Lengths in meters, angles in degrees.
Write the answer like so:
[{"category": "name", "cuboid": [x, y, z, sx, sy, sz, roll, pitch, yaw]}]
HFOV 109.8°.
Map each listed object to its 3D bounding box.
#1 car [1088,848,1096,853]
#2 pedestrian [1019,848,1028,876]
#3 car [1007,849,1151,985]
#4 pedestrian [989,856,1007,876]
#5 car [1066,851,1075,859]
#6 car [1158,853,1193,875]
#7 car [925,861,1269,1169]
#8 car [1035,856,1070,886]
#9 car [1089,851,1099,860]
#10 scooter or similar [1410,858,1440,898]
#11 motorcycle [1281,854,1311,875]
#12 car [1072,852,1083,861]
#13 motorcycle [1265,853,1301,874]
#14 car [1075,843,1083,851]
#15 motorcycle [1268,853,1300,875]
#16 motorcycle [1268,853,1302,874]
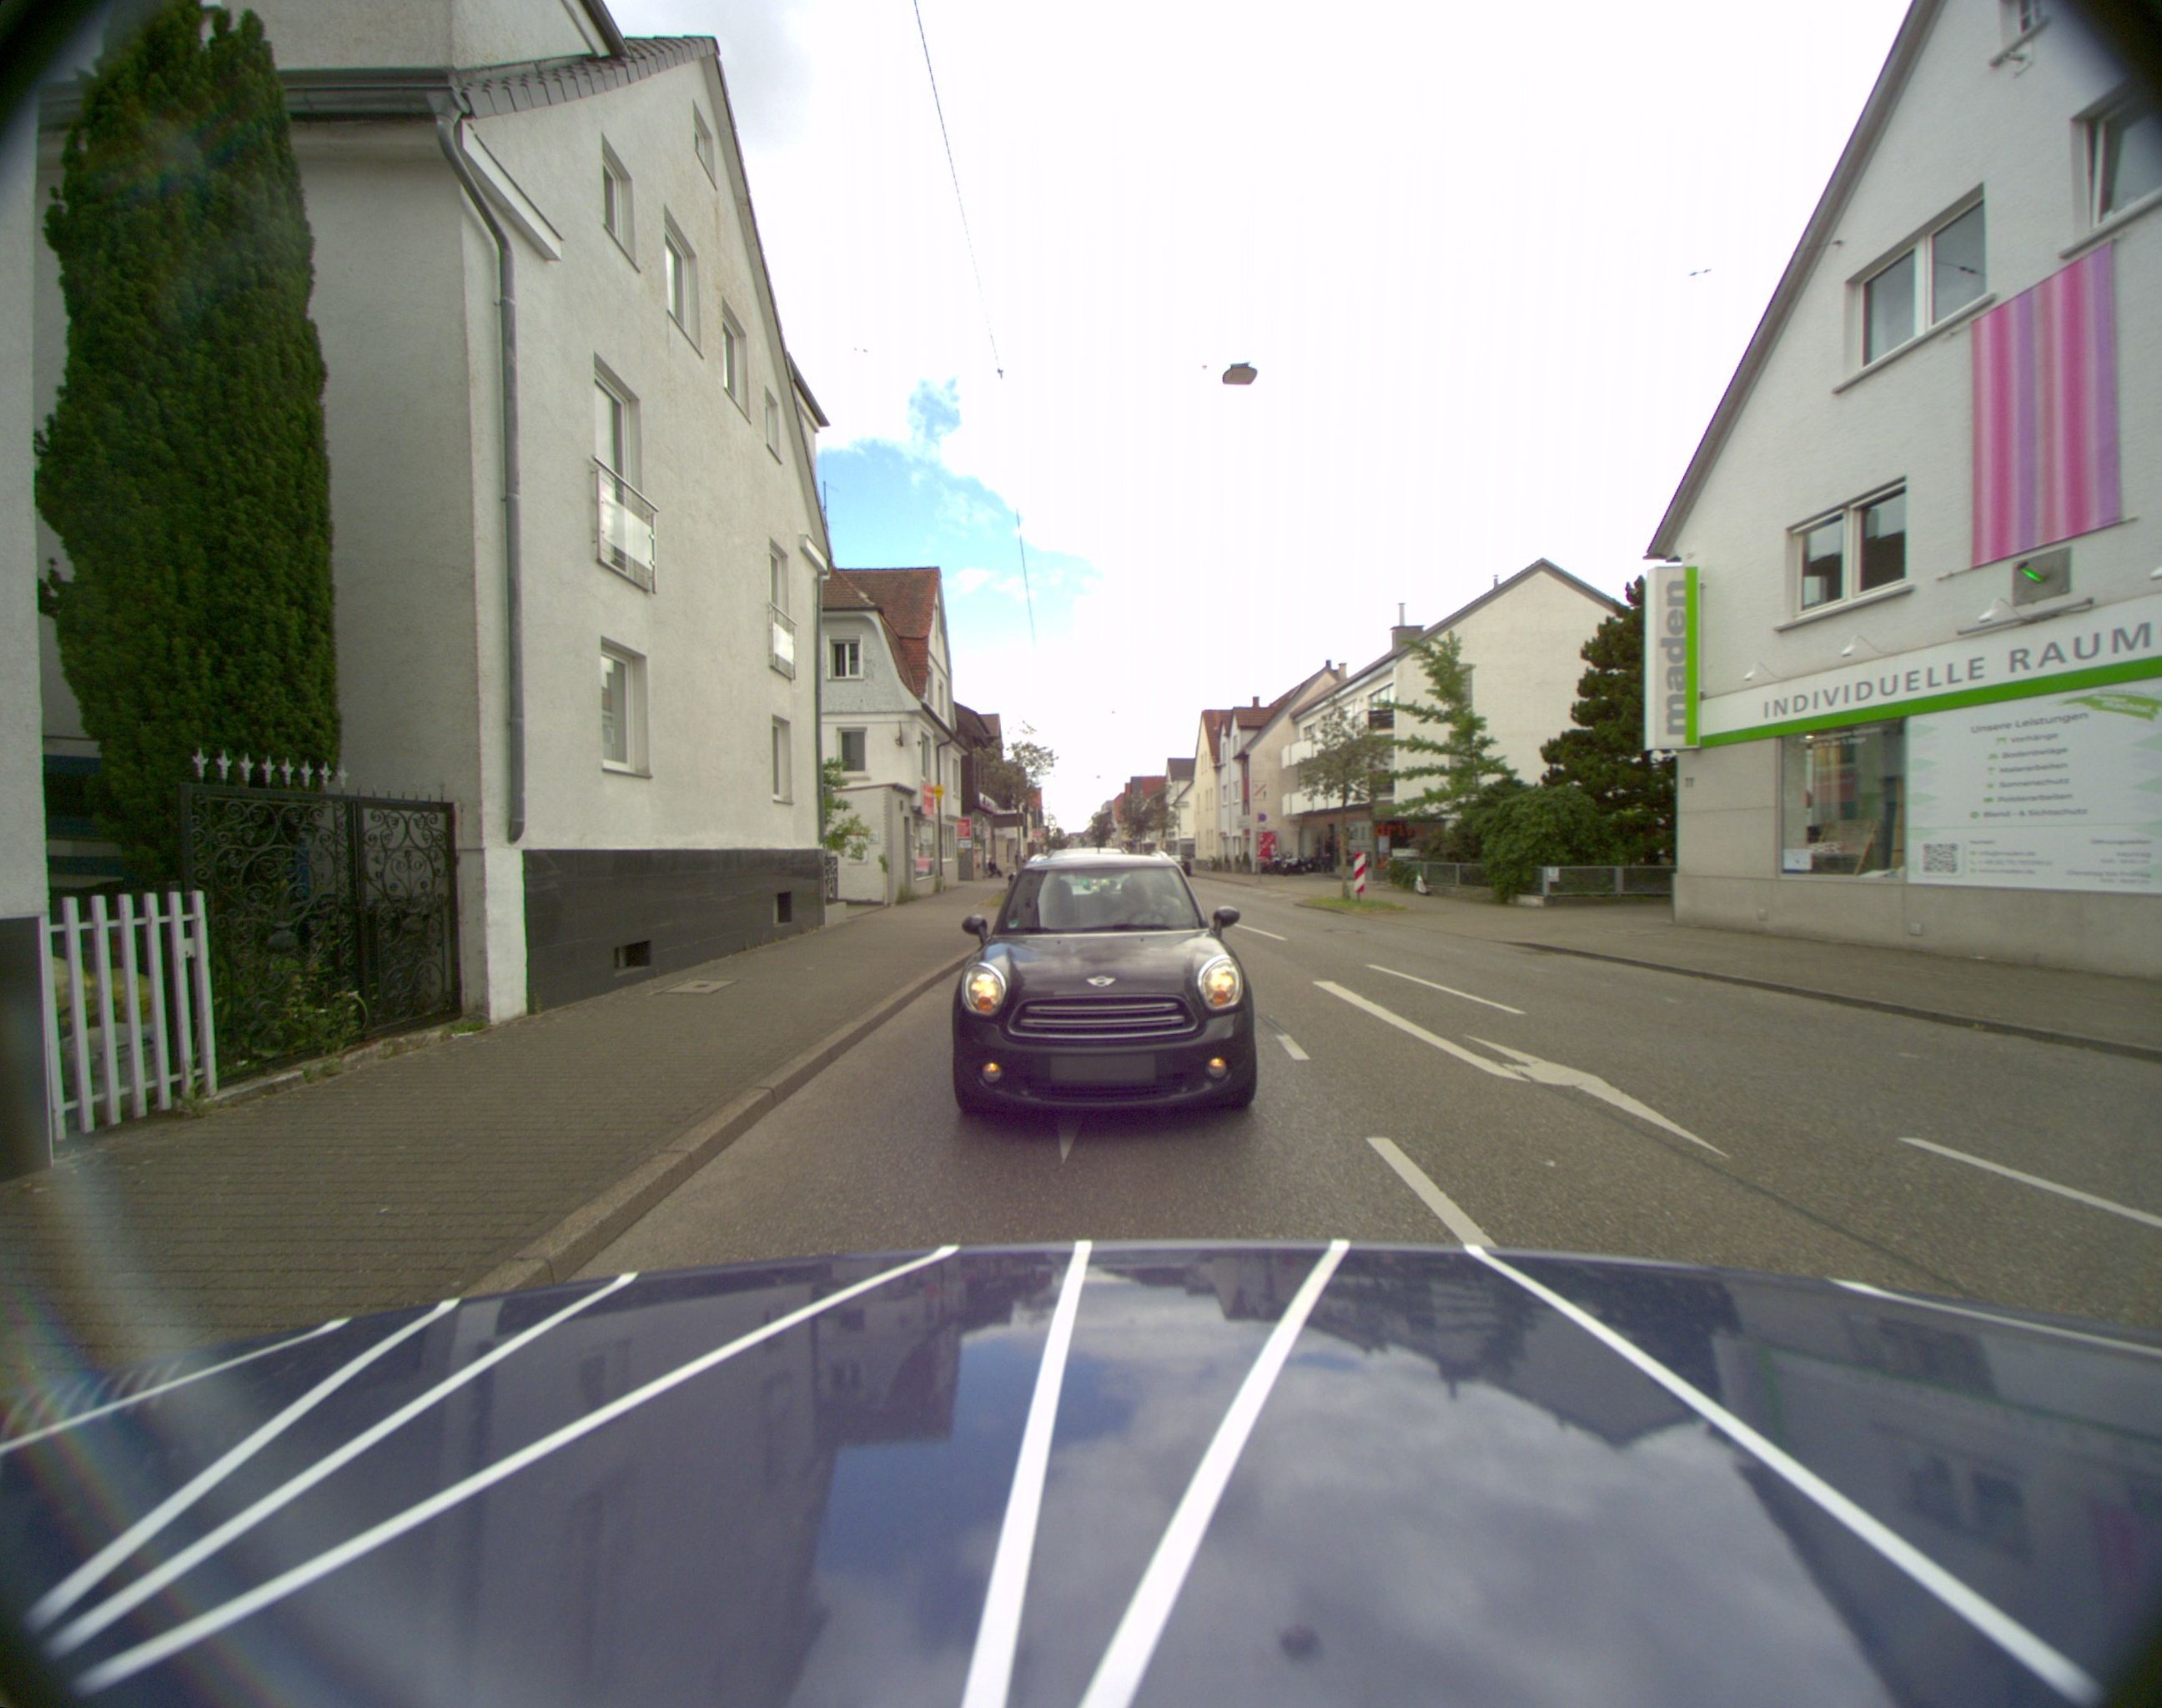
[{"category": "car", "cuboid": [2.833, -0.889, 193.261, 1.634, 1.404, 3.998, 0, 0, -3]}, {"category": "pedestrian", "cuboid": [-3.604, 0.516, 47.322, 0.497, 1.744, 0.451, 0, 1, 1]}, {"category": "car", "cuboid": [-0.025, 0.807, 12.135, 1.811, 1.556, 4.616, -2, 2, 0]}, {"category": "pedestrian", "cuboid": [-5.159, 0.740, 47.321, 0.982, 1.272, 0.667, 0, 1, 12]}, {"category": "car", "cuboid": [-2.156, 0.244, 160.576, 1.846, 1.510, 3.999, -2, 1, 0]}, {"category": "car", "cuboid": [6.356, 0.635, 51.243, 1.634, 1.404, 3.998, 0, 0, -3]}, {"category": "car", "cuboid": [0.105, 0.831, 5.817, 1.693, 1.506, 4.000, -1, 0, 1]}, {"category": "car", "cuboid": [-1.605, 0.932, 43.052, 1.846, 1.510, 3.999, -2, 1, -2]}, {"category": "car", "cuboid": [2.480, 0.237, 145.295, 1.846, 1.510, 3.999, -2, 1, 0]}, {"category": "scooter or similar", "cuboid": [10.247, 0.697, 22.666, 0.465, 1.117, 1.829, -2, 0, 14]}, {"category": "motorcycle", "cuboid": [11.383, 0.570, 40.244, 1.429, 1.017, 0.525, -3, 1, 0]}, {"category": "car", "cuboid": [-0.658, 0.401, 133.606, 1.846, 1.510, 3.999, -2, 1, 0]}, {"category": "motorcycle", "cuboid": [11.167, 0.528, 41.982, 1.834, 1.099, 0.505, -3, 1, 0]}, {"category": "car", "cuboid": [-0.571, -2.053, 217.782, 1.951, 2.117, 4.321, 0, 0, -3]}, {"category": "motorcycle", "cuboid": [10.955, 0.546, 41.044, 1.515, 1.099, 0.589, -3, 1, 6]}, {"category": "motorcycle", "cuboid": [11.472, 0.507, 42.763, 1.678, 1.099, 0.558, -3, 1, 0]}]
